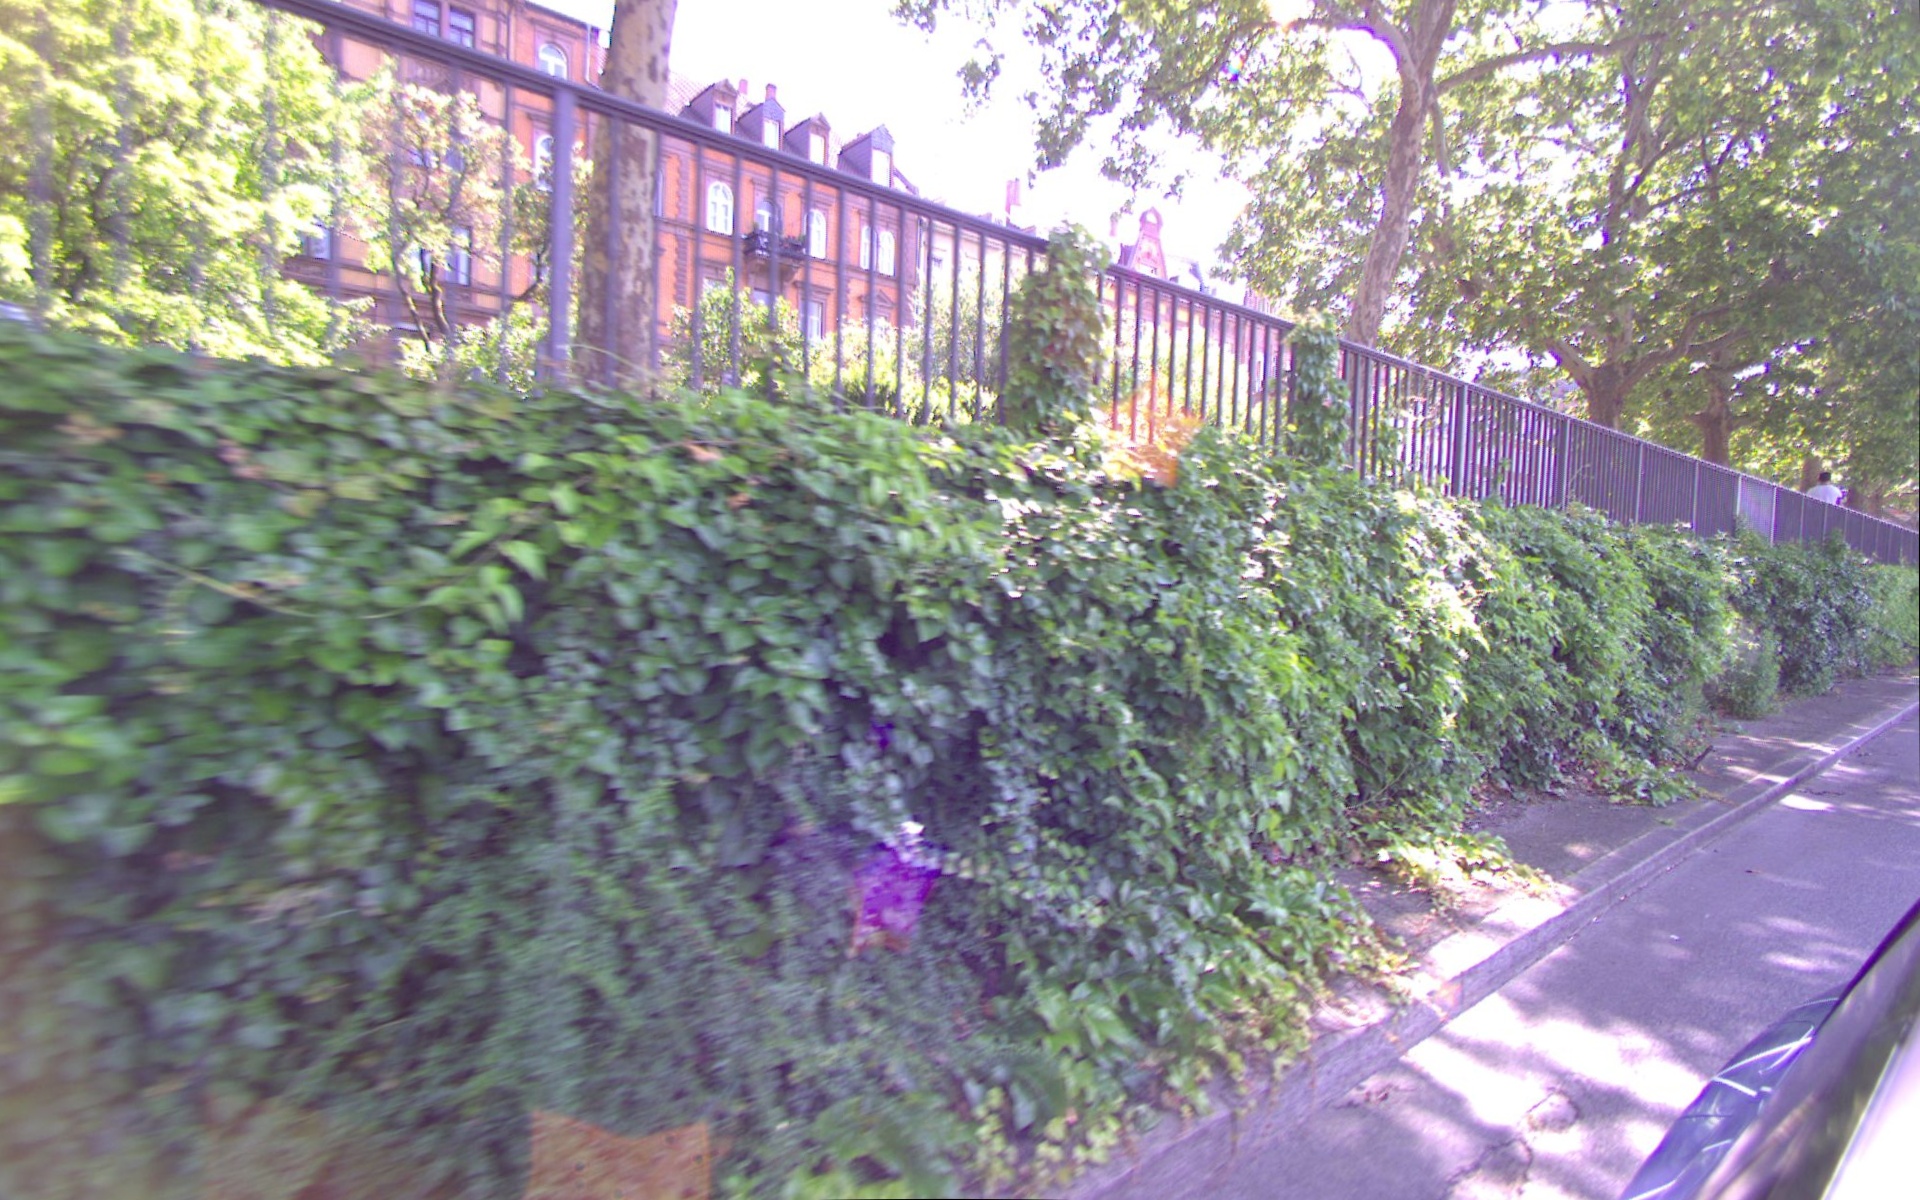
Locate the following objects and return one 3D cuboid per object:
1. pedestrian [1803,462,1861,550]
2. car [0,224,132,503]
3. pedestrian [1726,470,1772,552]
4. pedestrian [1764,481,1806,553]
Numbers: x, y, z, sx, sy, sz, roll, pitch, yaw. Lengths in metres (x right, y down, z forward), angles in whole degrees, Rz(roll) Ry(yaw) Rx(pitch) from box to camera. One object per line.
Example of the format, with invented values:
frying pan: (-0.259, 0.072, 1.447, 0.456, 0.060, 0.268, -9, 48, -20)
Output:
pedestrian: (16.447, -1.761, 19.093, 0.639, 1.610, 0.666, 0, 3, -41)
car: (-6.057, -1.278, 5.626, 3.724, 1.249, 1.650, 7, 6, 41)
pedestrian: (16.541, -1.858, 21.222, 0.646, 1.660, 0.617, 4, 3, 41)
pedestrian: (16.907, -1.697, 20.745, 0.584, 1.436, 0.580, 4, 3, 41)
